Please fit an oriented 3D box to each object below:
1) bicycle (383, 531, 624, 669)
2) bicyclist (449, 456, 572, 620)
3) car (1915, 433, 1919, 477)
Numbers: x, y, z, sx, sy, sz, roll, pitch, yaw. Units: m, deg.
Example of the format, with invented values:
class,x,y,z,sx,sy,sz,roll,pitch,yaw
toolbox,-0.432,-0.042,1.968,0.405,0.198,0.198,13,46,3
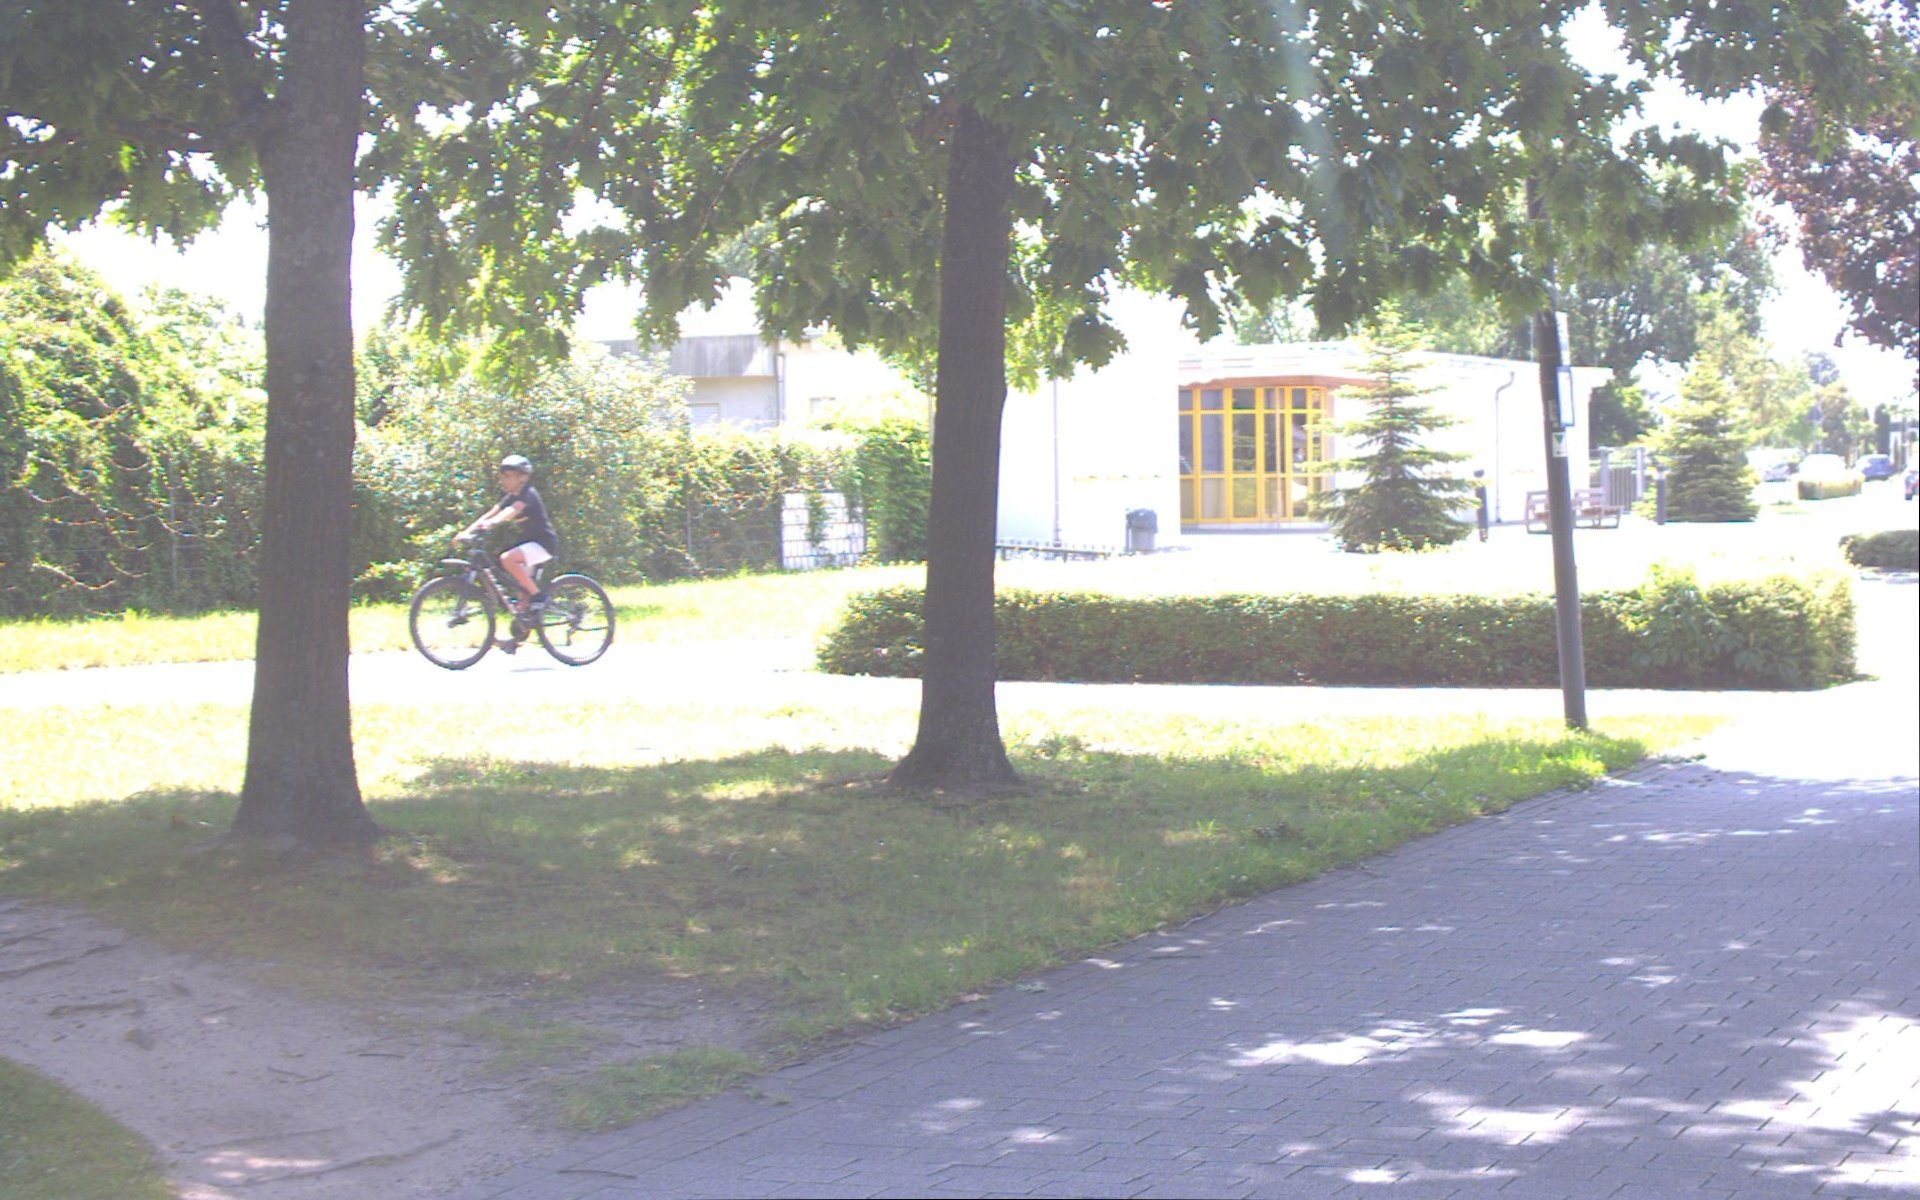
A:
class,x,y,z,sx,sy,sz,roll,pitch,yaw
bicycle,-3.288,-0.013,24.832,1.615,0.925,0.599,-3,2,-37
bicyclist,-3.251,-0.452,24.850,0.646,1.160,0.599,-3,2,-37
car,29.564,-4.352,103.052,1.616,1.284,3.554,0,2,19
